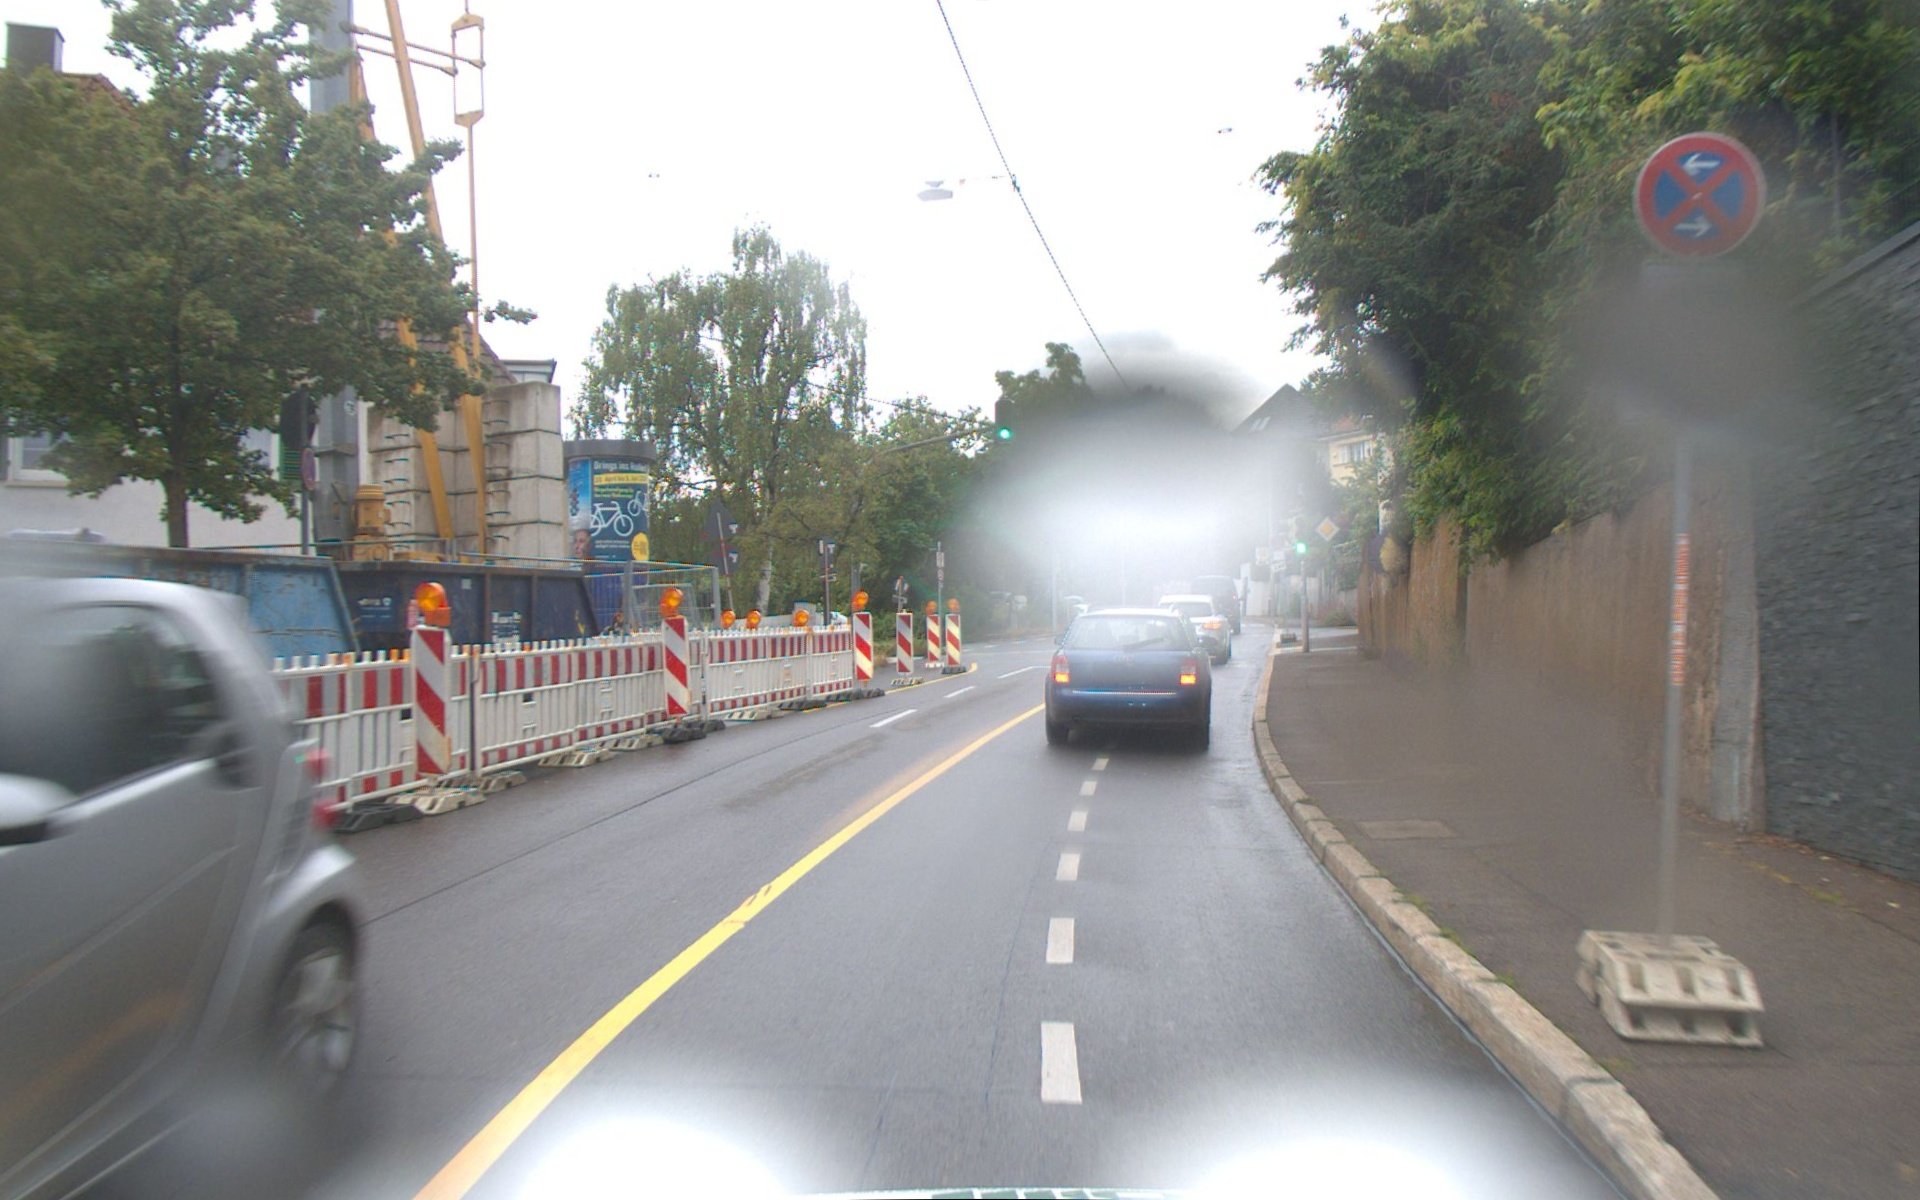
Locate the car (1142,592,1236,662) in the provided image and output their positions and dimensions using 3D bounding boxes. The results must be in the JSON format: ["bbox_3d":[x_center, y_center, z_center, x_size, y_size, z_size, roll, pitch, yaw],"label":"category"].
[{"bbox_3d":[5.125,0.593,36.662,1.868,1.413,4.354,1,-1,10],"label":"car"}]

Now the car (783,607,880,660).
[{"bbox_3d":[-4.434,1.174,56.525,1.667,1.535,3.969,-4,-2,-31],"label":"car"}]

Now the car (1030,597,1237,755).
[{"bbox_3d":[2.020,0.735,18.194,1.739,1.464,4.004,0,1,14],"label":"car"}]

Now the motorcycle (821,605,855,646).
[{"bbox_3d":[-3.667,0.749,49.707,0.578,1.150,1.845,-3,0,9],"label":"motorcycle"}]

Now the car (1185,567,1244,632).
[{"bbox_3d":[8.216,-0.047,53.250,1.693,1.927,4.059,-3,0,10],"label":"car"}]

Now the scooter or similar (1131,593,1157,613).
[{"bbox_3d":[13.670,0.213,122.707,1.797,1.338,0.600,3,-3,-1],"label":"scooter or similar"}]

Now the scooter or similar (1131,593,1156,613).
[{"bbox_3d":[13.737,0.219,123.802,1.797,1.338,0.600,3,-3,-1],"label":"scooter or similar"}]

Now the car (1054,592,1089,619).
[{"bbox_3d":[6.599,0.318,98.215,1.640,1.451,3.999,-3,0,-1],"label":"car"}]

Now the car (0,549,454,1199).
[{"bbox_3d":[-2.498,0.668,3.847,1.425,1.553,2.925,1,0,7],"label":"car"}]
